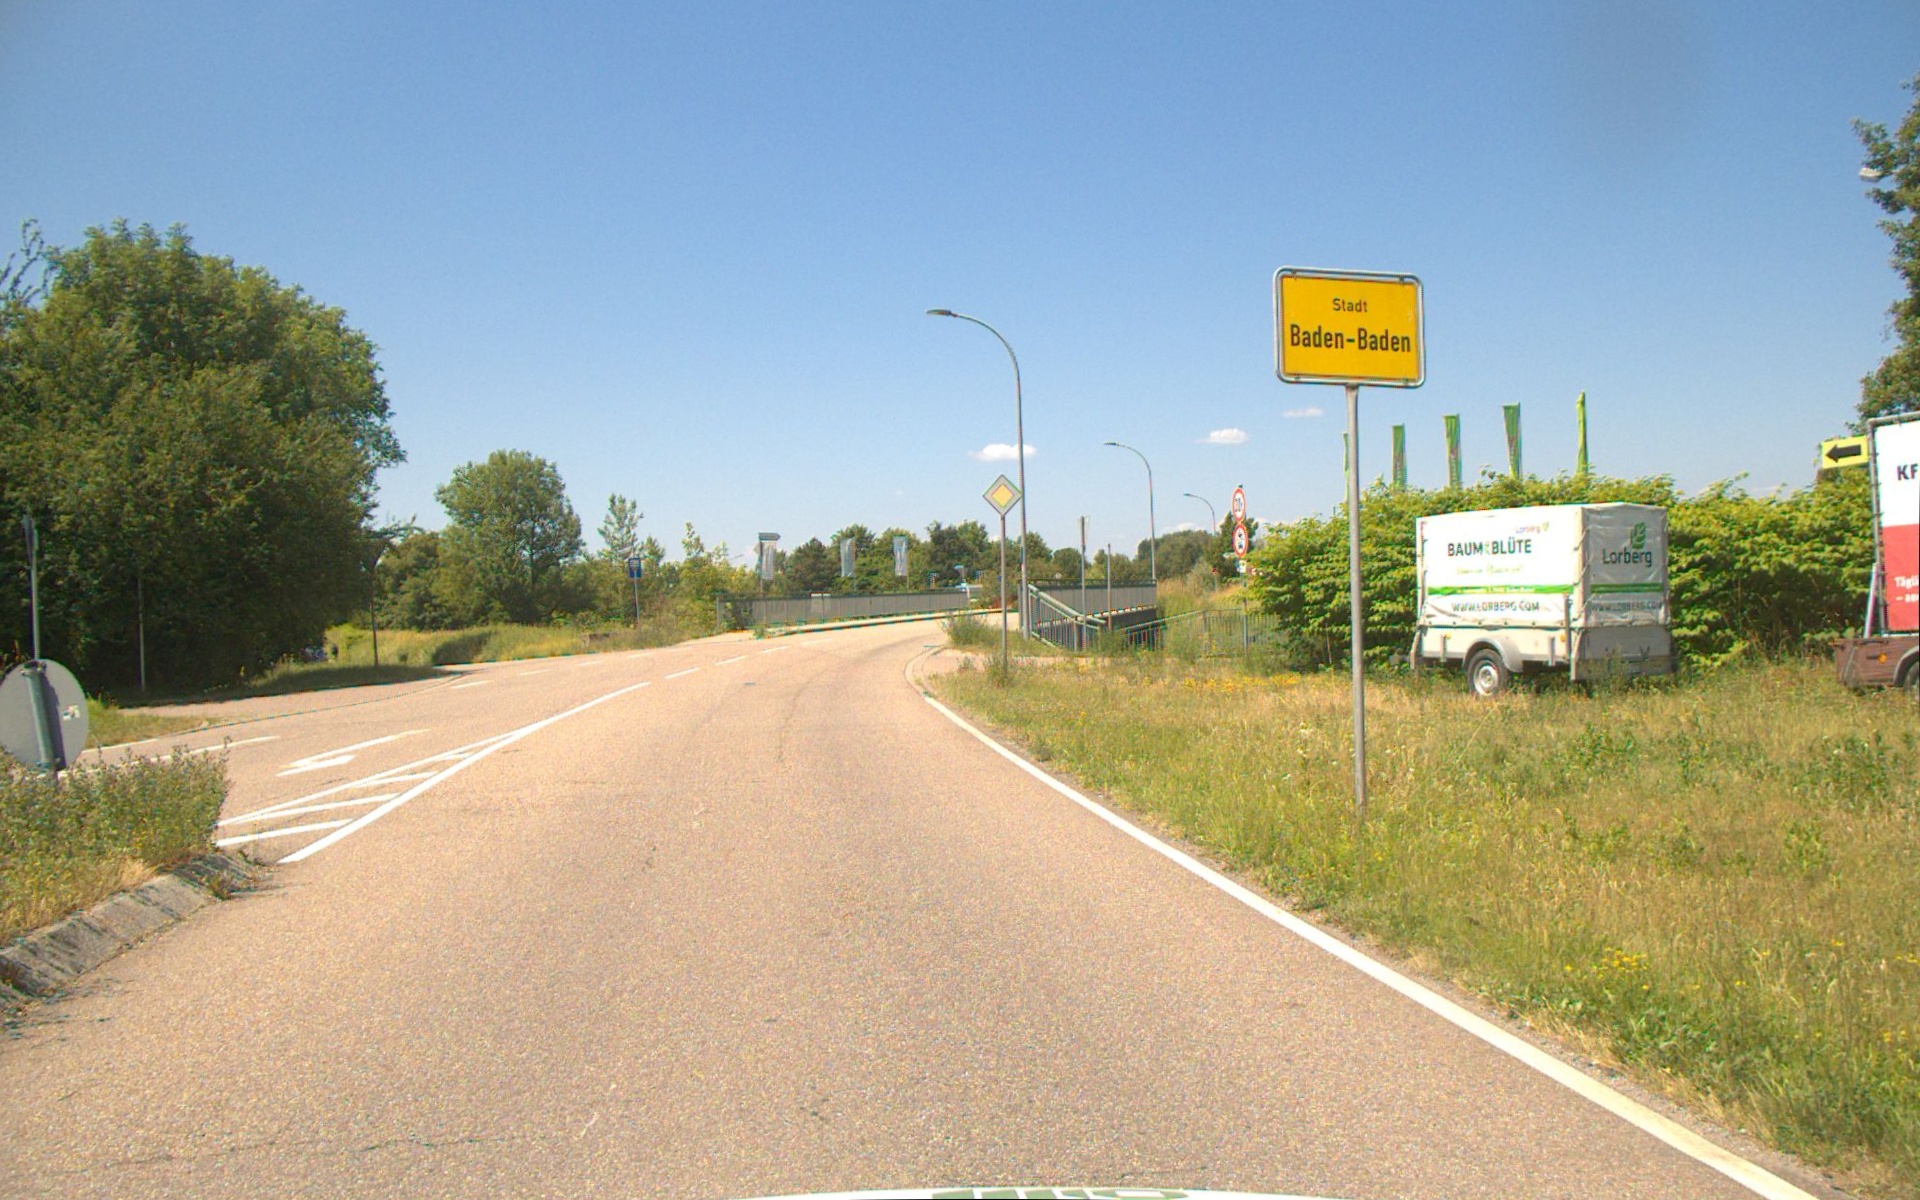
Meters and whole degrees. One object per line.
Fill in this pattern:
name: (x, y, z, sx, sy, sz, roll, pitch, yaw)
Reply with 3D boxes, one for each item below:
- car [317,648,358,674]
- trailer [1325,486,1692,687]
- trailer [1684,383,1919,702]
car: (-43.257, 4.255, 114.967, 1.973, 1.623, 3.959, -3, 0, -30)
trailer: (6.344, -0.132, 19.568, 1.825, 2.114, 3.933, -2, 0, -28)
trailer: (8.625, -0.498, 15.183, 1.825, 2.717, 3.118, -1, 0, -28)
